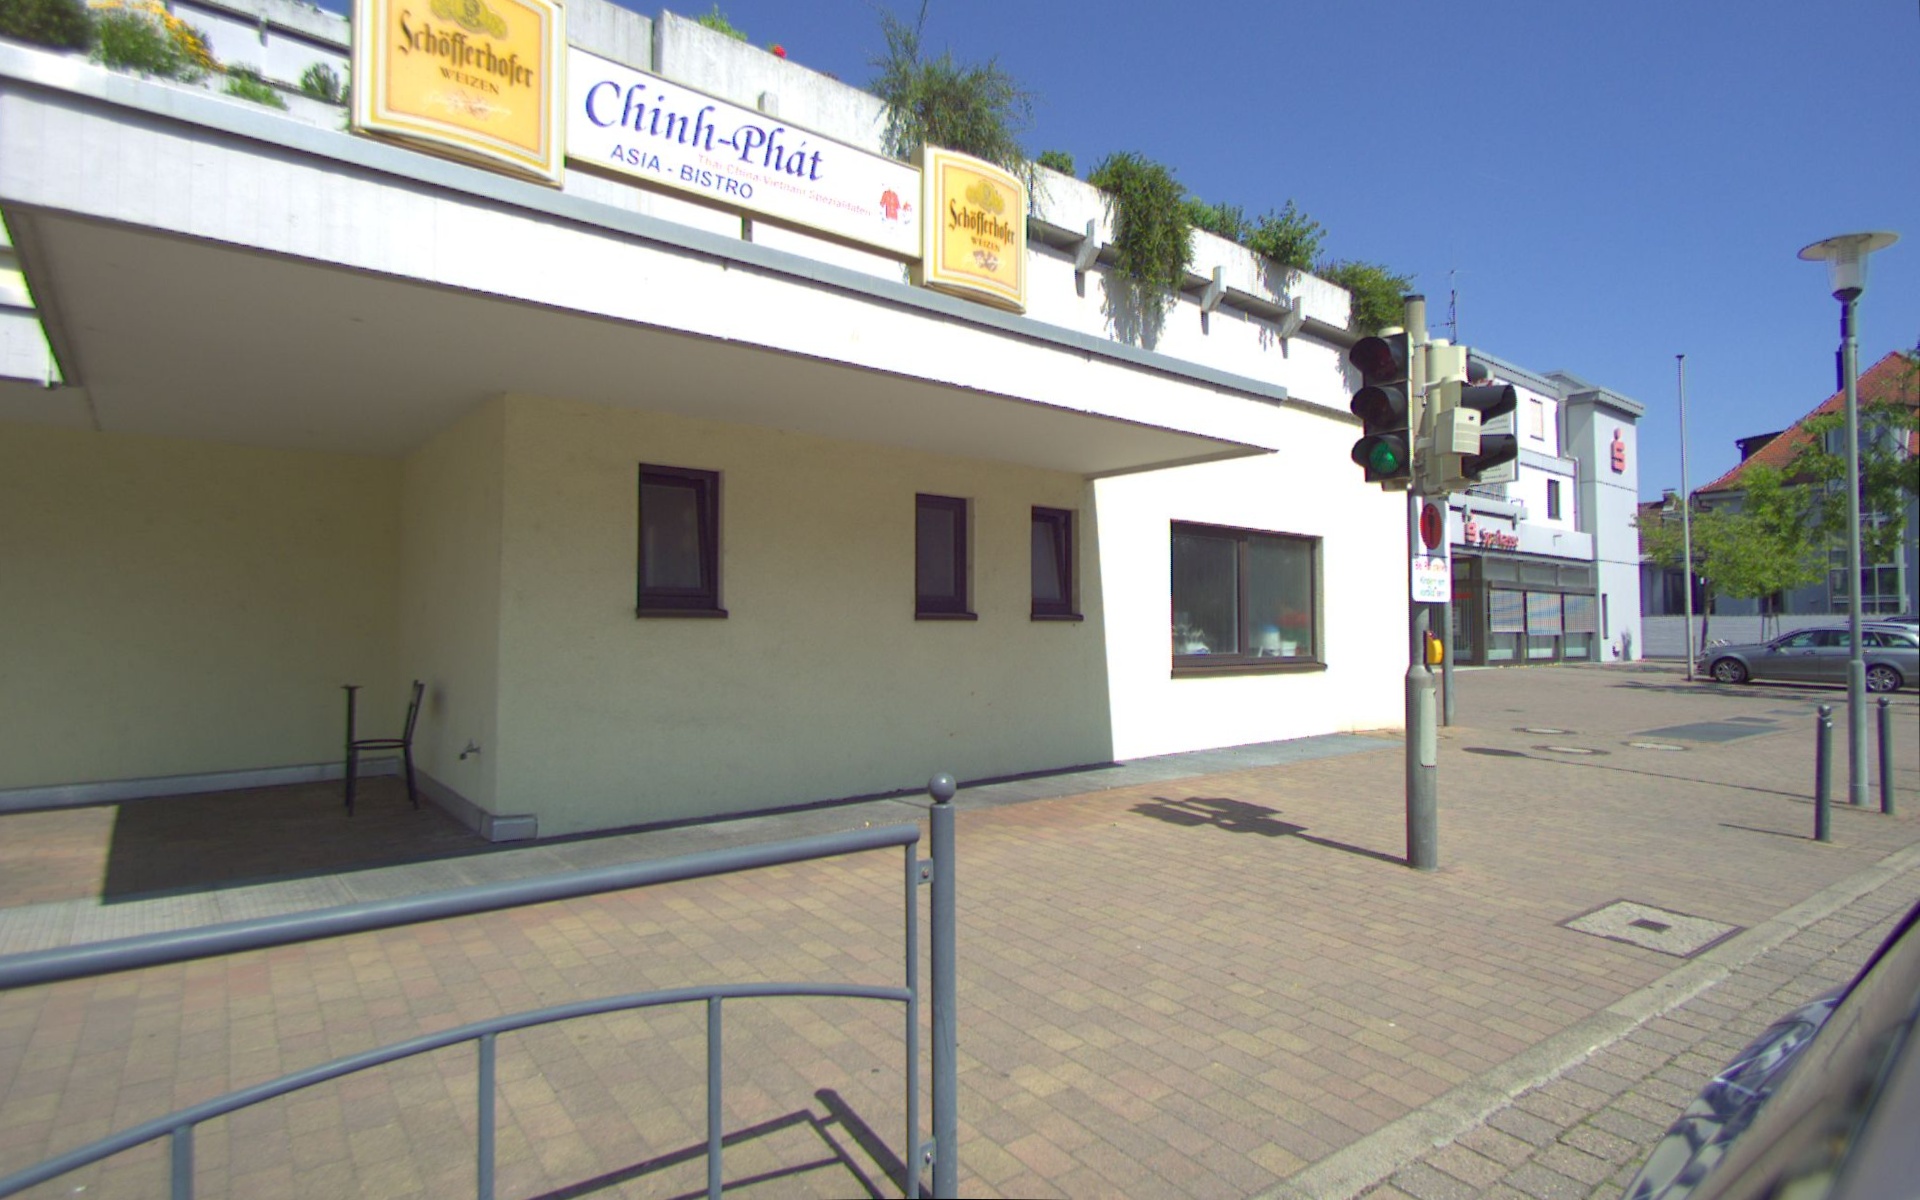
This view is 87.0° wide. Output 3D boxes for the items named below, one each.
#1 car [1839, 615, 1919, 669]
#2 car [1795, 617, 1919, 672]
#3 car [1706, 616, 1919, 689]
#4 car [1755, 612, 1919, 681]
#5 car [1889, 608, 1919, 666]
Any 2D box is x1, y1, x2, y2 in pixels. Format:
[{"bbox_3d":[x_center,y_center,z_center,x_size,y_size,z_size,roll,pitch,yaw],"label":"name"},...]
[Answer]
[{"bbox_3d":[28.484,1.228,30.052,1.464,1.572,3.427,1,-2,-40],"label":"car"},{"bbox_3d":[26.509,1.255,28.534,1.628,1.461,4.436,1,-1,-43],"label":"car"},{"bbox_3d":[20.251,1.157,23.537,1.661,1.484,4.439,0,0,-41],"label":"car"},{"bbox_3d":[22.514,1.112,25.212,1.683,1.579,4.040,1,-1,-42],"label":"car"},{"bbox_3d":[30.477,1.152,30.880,1.321,1.759,3.037,1,-1,-41],"label":"car"}]
